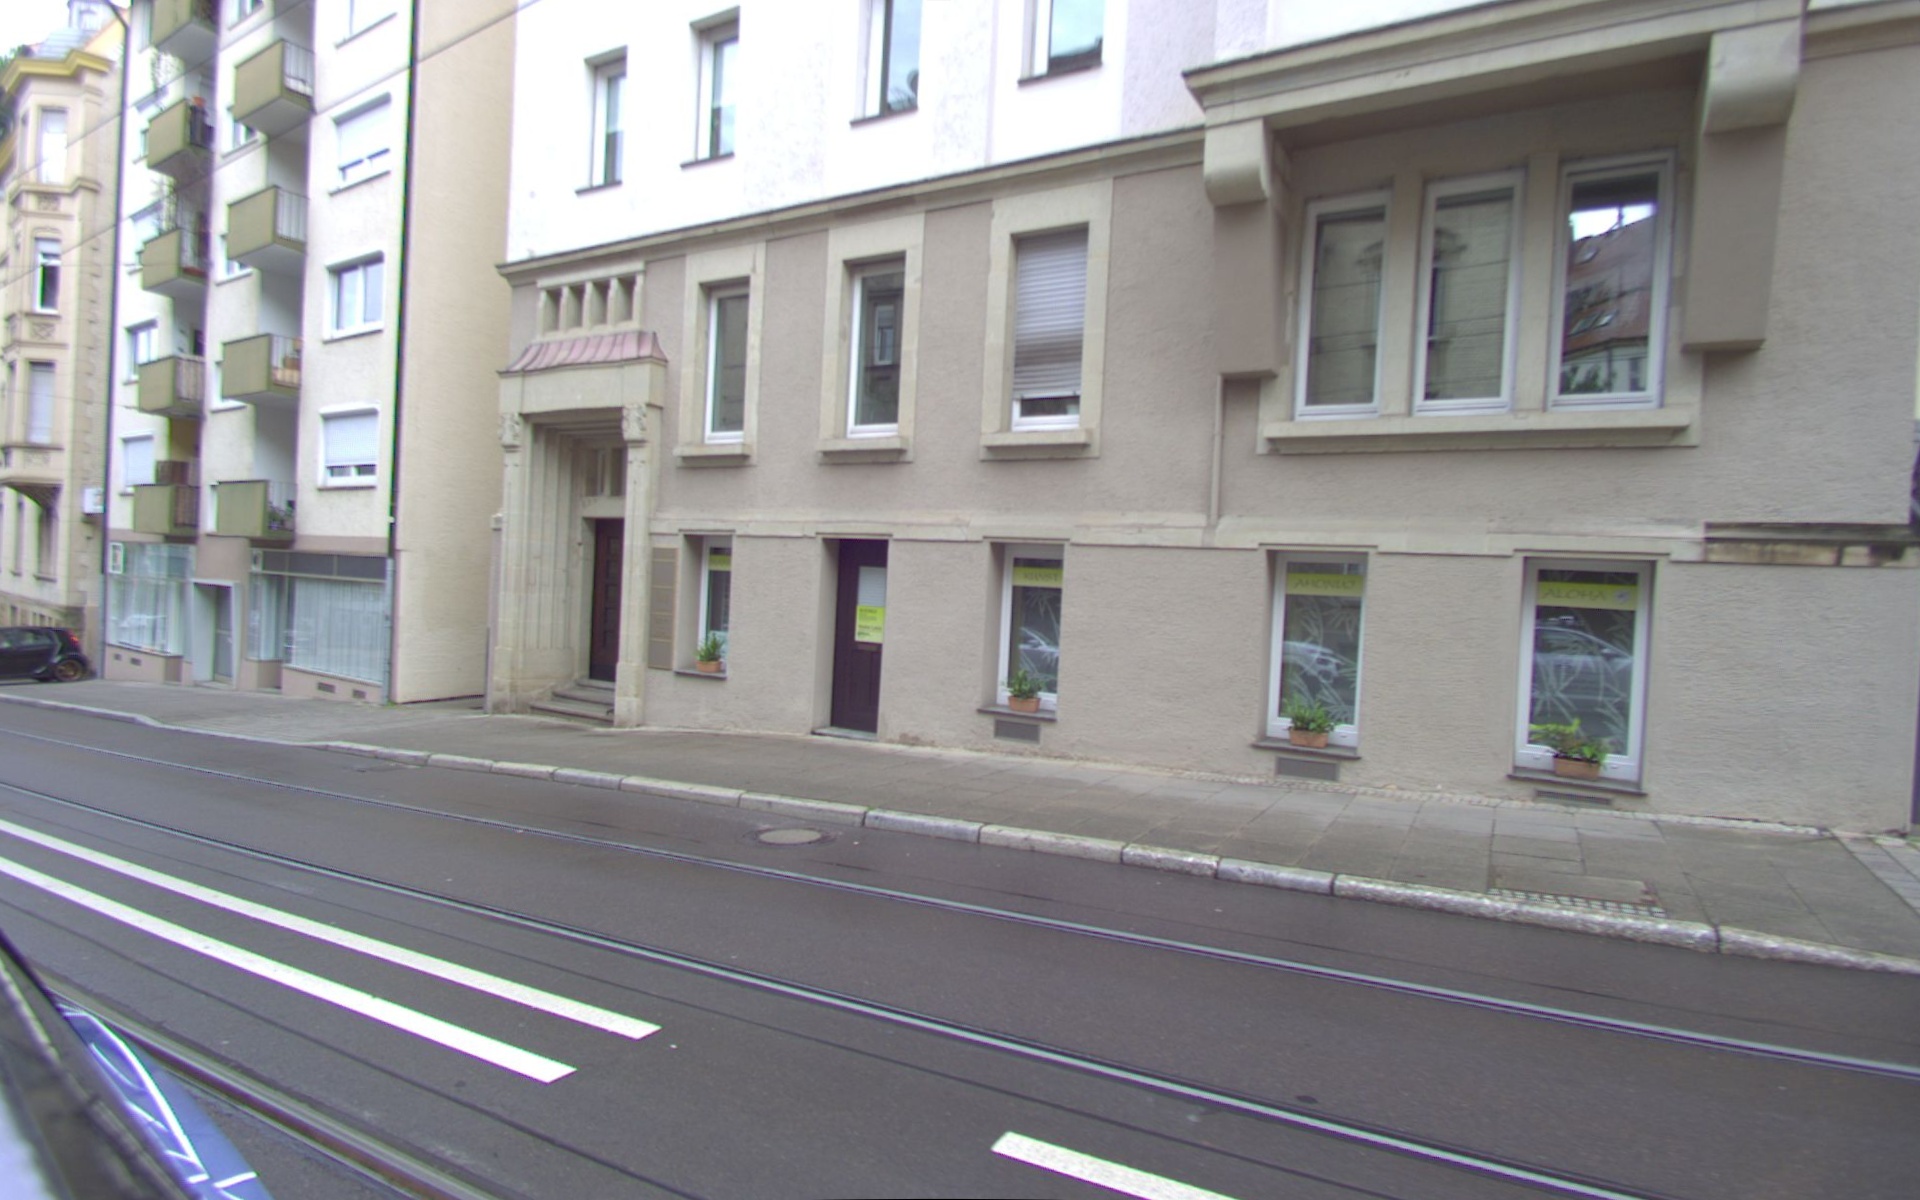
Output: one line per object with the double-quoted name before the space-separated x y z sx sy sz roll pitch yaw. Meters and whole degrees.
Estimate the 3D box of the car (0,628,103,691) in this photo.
"car" -23.490 1.424 24.430 1.736 1.465 3.953 -1 -2 34
